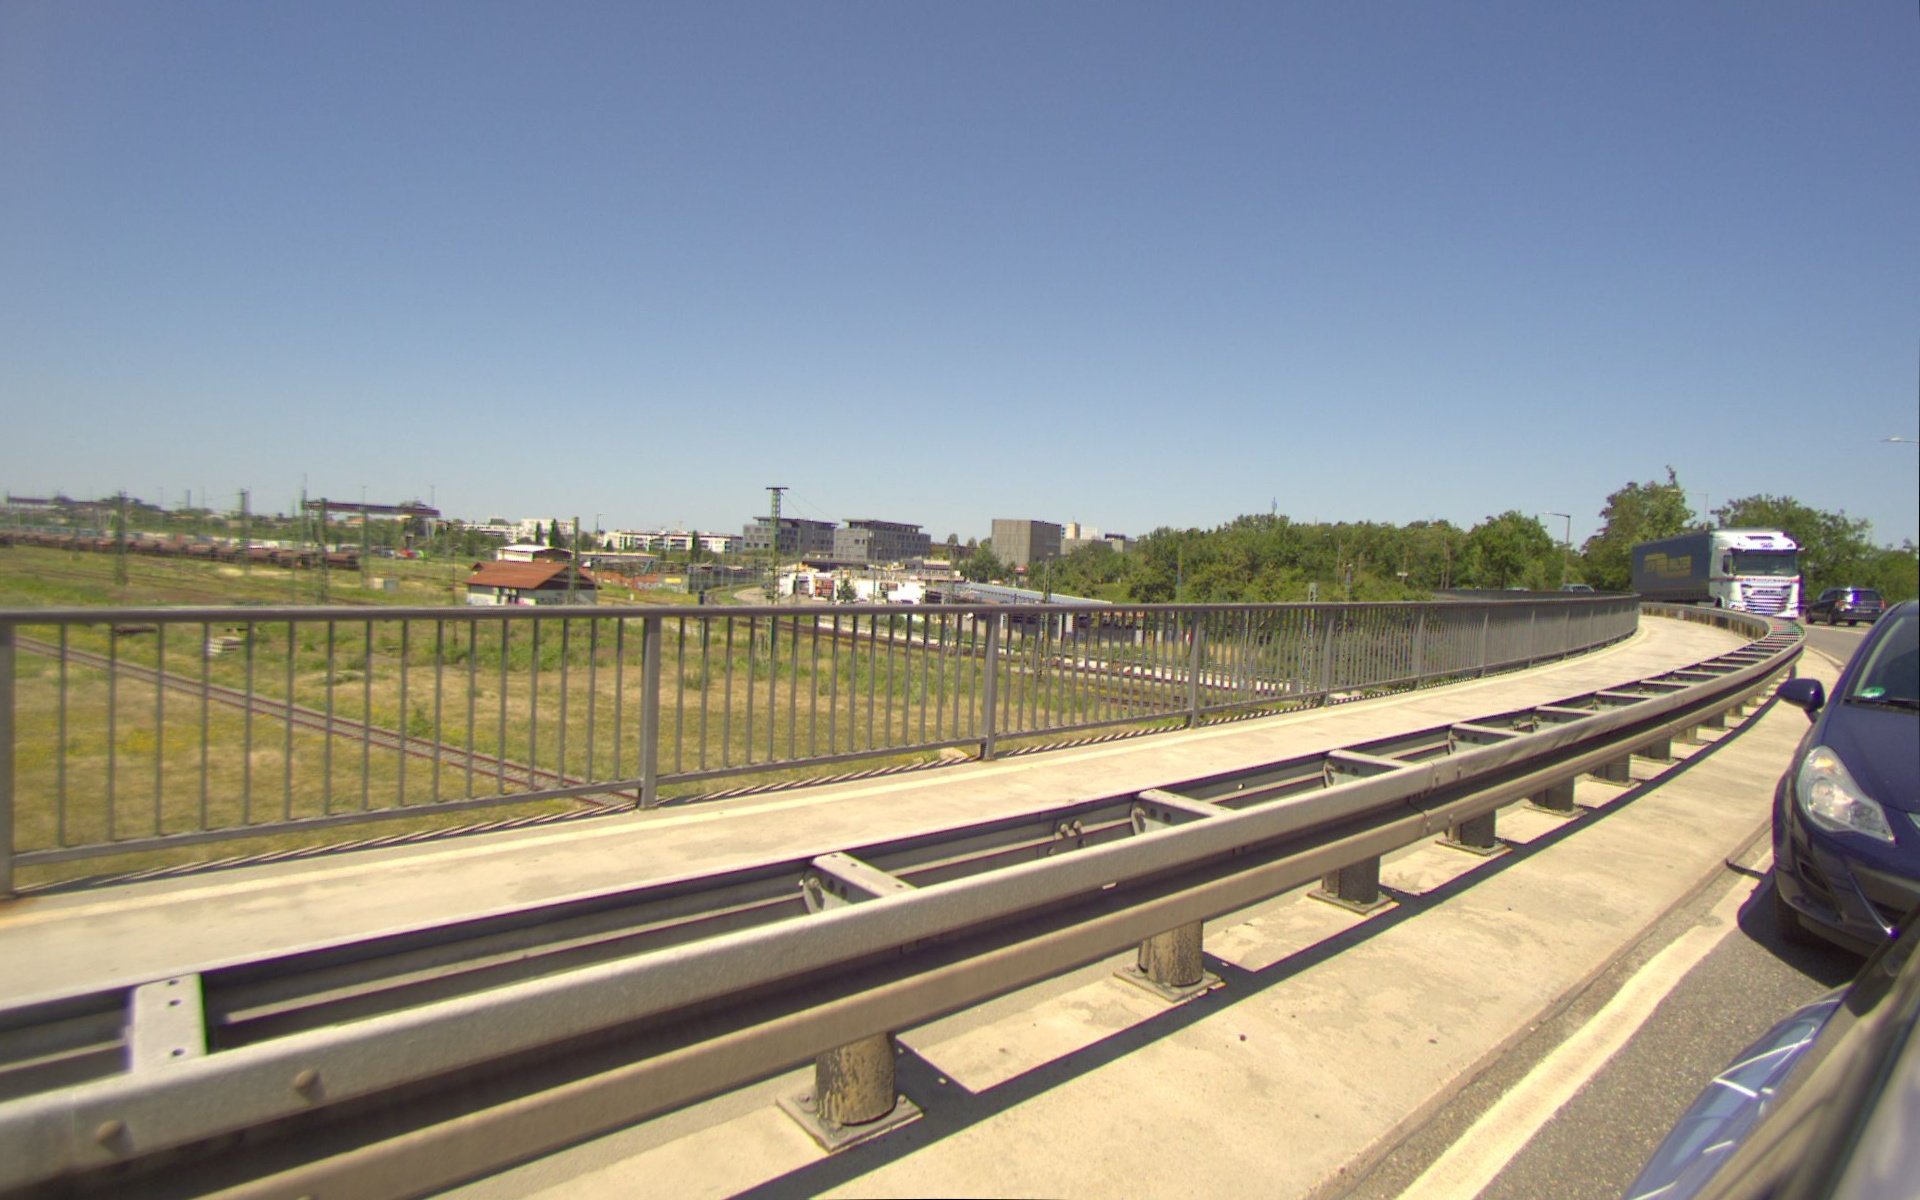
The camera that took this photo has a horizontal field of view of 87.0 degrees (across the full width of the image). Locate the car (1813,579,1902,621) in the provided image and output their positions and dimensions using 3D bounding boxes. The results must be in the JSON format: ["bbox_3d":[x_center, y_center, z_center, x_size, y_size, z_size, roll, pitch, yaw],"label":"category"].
[{"bbox_3d":[38.078,-0.025,43.059,1.695,1.646,4.216,-1,1,26],"label":"car"}]

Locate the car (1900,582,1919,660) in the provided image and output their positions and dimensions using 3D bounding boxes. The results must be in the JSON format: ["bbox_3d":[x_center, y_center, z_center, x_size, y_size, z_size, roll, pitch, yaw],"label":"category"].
[{"bbox_3d":[18.966,0.401,18.750,1.785,1.473,4.463,0,0,37],"label":"car"}]

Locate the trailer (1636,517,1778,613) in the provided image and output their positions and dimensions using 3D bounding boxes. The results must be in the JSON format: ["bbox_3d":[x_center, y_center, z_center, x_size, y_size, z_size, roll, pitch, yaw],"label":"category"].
[{"bbox_3d":[37.742,-1.734,51.733,2.670,4.287,12.623,0,1,22],"label":"trailer"}]

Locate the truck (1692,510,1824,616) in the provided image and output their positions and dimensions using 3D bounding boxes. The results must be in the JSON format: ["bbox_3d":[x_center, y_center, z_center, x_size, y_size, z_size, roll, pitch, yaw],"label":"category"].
[{"bbox_3d":[34.921,-1.578,44.579,2.665,4.281,6.791,0,1,22],"label":"truck"}]

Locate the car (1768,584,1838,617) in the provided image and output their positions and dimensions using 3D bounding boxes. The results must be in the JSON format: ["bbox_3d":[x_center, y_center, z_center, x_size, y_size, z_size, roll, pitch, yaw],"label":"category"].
[{"bbox_3d":[44.534,-0.026,53.565,1.789,1.661,4.262,1,1,26],"label":"car"}]

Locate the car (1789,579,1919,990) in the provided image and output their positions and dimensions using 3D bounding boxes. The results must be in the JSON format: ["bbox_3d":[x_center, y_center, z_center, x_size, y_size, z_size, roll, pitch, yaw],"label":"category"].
[{"bbox_3d":[5.109,0.642,4.657,1.641,1.457,3.936,1,1,45],"label":"car"}]
